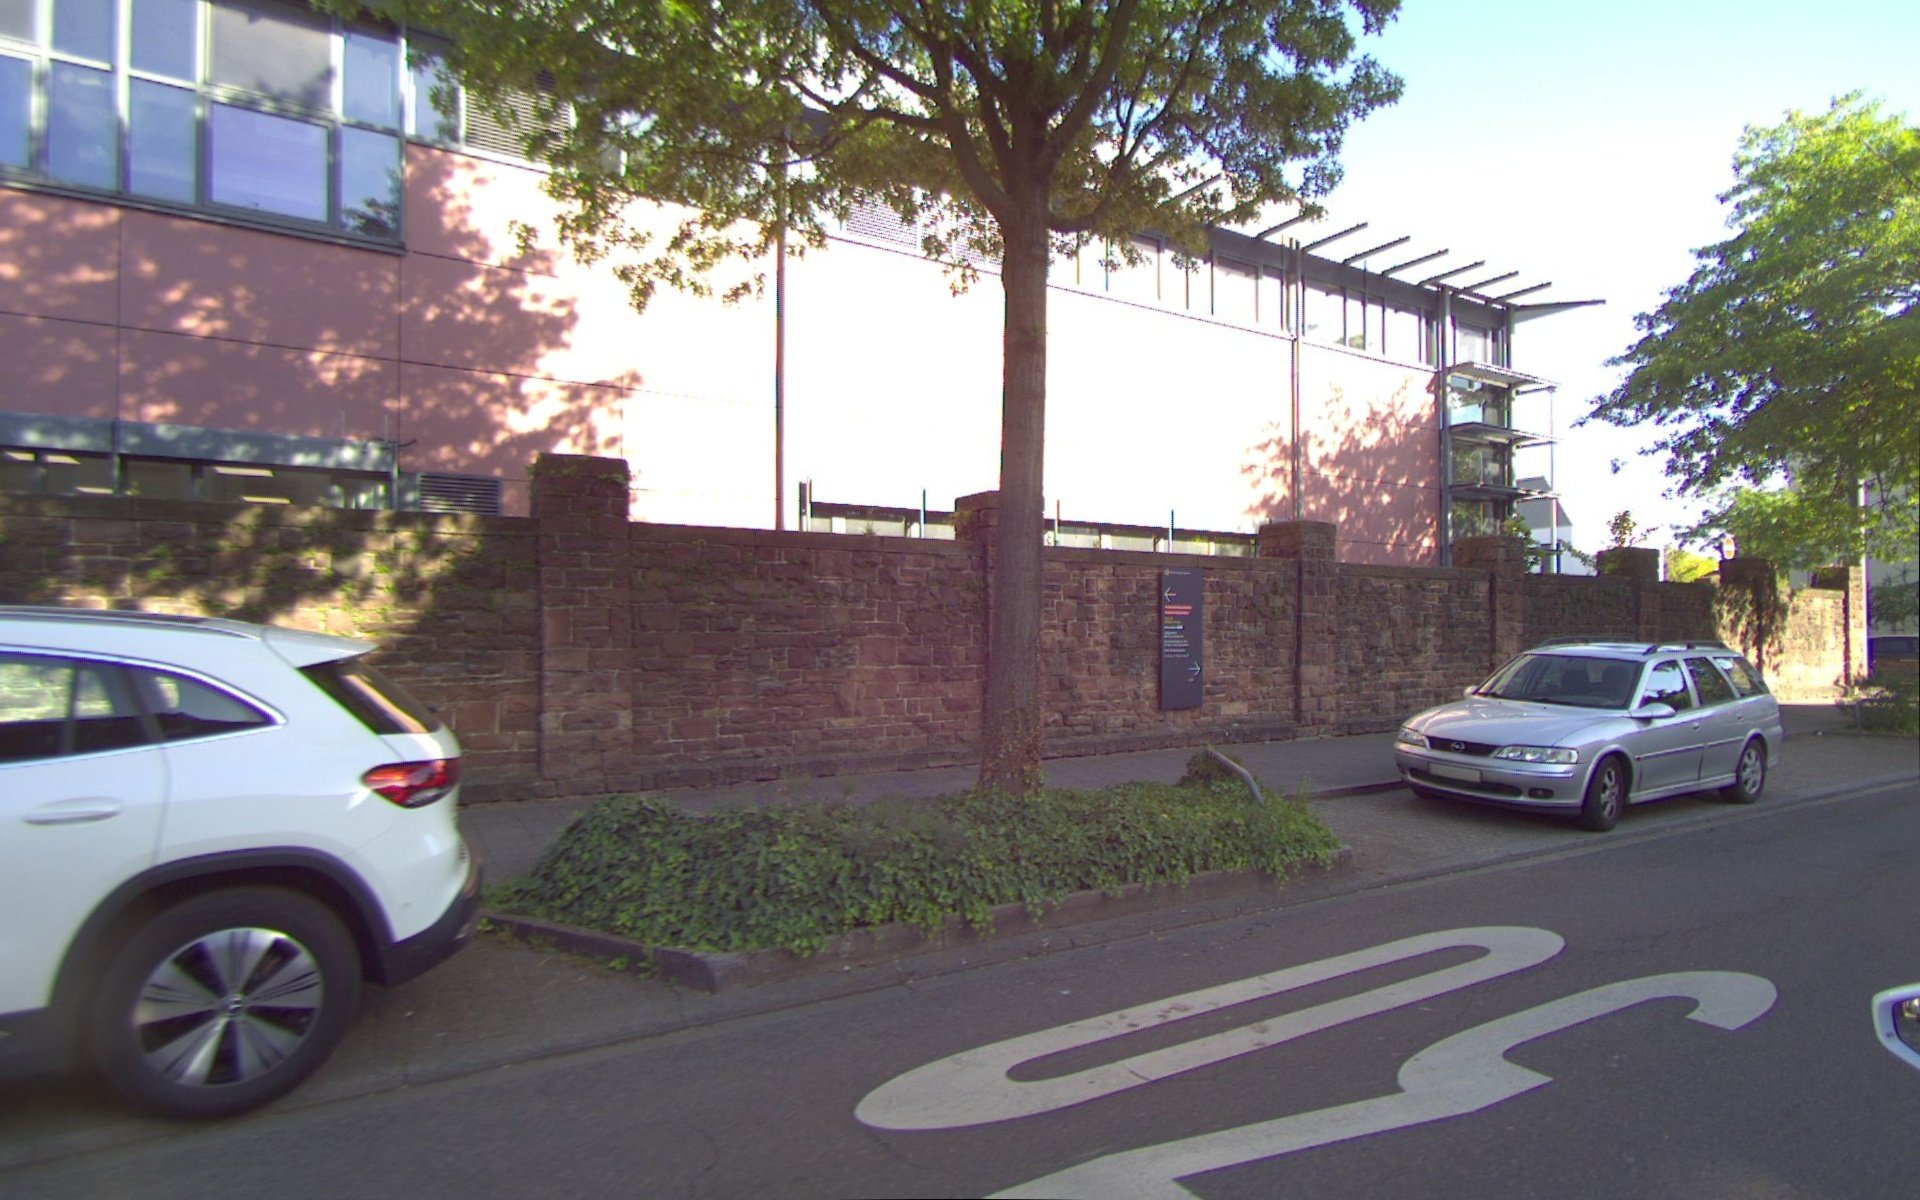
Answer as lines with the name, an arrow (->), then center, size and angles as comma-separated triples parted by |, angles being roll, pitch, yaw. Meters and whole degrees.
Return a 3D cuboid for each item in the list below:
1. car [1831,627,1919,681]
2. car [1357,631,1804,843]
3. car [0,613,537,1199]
car -> 27.316, 1.519, 28.151 | 1.837, 1.440, 4.160 | 1, -1, -39
car -> 5.844, 1.074, 9.309 | 4.428, 1.495, 1.717 | 1, 0, -32
car -> -3.800, 0.893, 3.202 | 4.304, 1.706, 1.710 | 1, -1, -33
